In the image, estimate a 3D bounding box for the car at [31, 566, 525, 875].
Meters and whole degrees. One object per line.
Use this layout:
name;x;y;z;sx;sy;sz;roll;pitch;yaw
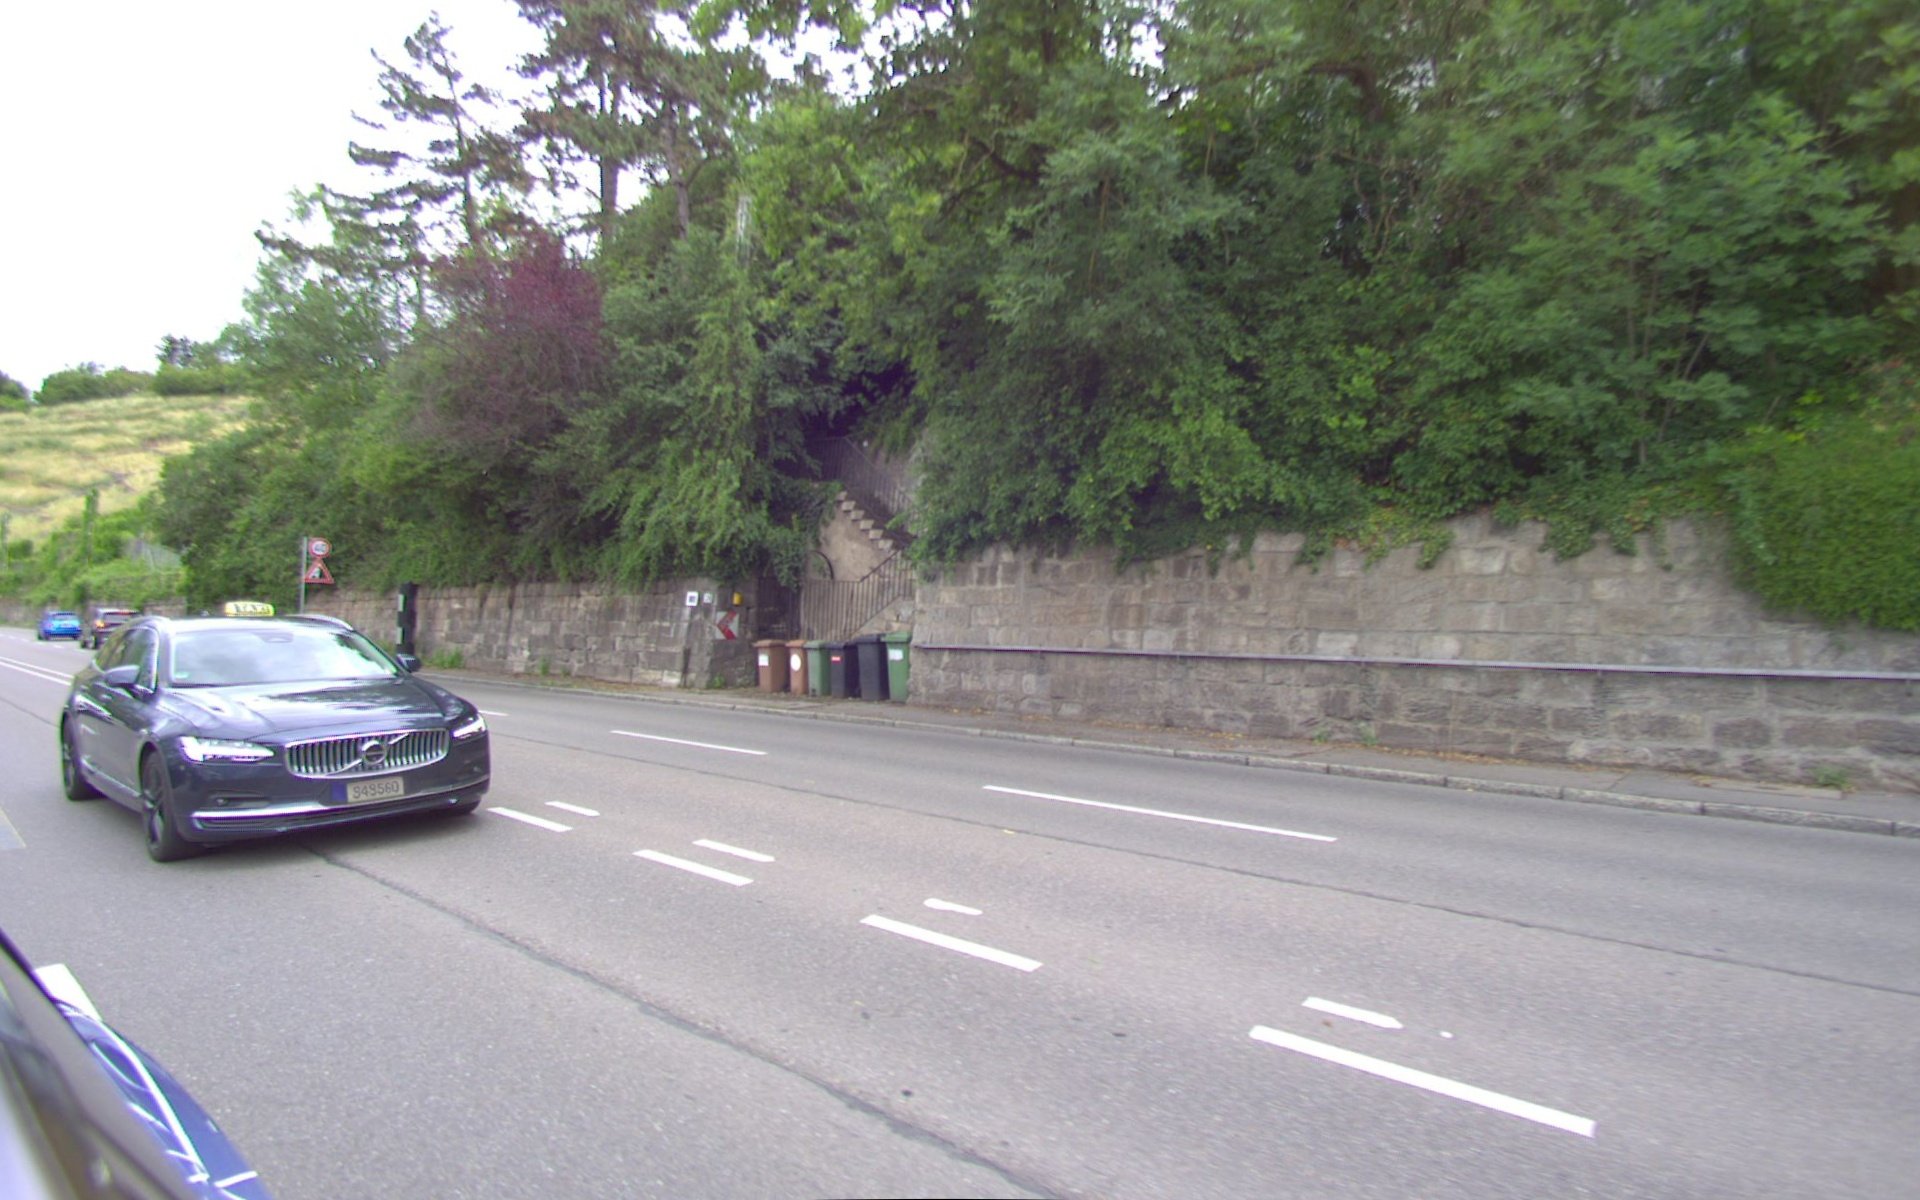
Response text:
car;-5.363;0.632;7.607;5.025;1.588;1.914;-1;0;42

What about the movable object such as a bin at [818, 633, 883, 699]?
movable object such as a bin;-1.798;1.063;16.613;0.620;1.042;0.890;-1;-2;38

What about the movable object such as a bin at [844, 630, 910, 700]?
movable object such as a bin;-1.309;1.012;16.051;0.717;1.070;0.764;-1;-2;38

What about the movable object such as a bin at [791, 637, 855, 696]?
movable object such as a bin;-2.300;1.099;17.016;0.593;0.953;0.907;-1;-2;38

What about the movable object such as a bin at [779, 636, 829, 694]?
movable object such as a bin;-2.699;1.111;17.503;0.542;0.973;0.667;-1;-2;38

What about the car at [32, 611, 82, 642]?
car;-46.338;1.336;51.913;3.523;1.472;1.567;0;0;42

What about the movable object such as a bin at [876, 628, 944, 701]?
movable object such as a bin;-0.772;0.975;15.544;0.708;1.079;0.780;-2;-3;38

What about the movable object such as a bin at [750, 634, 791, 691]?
movable object such as a bin;-3.321;1.092;17.763;0.473;0.973;0.512;-1;-2;38

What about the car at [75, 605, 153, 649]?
car;-34.838;1.070;41.636;4.468;1.710;1.796;0;-1;41
